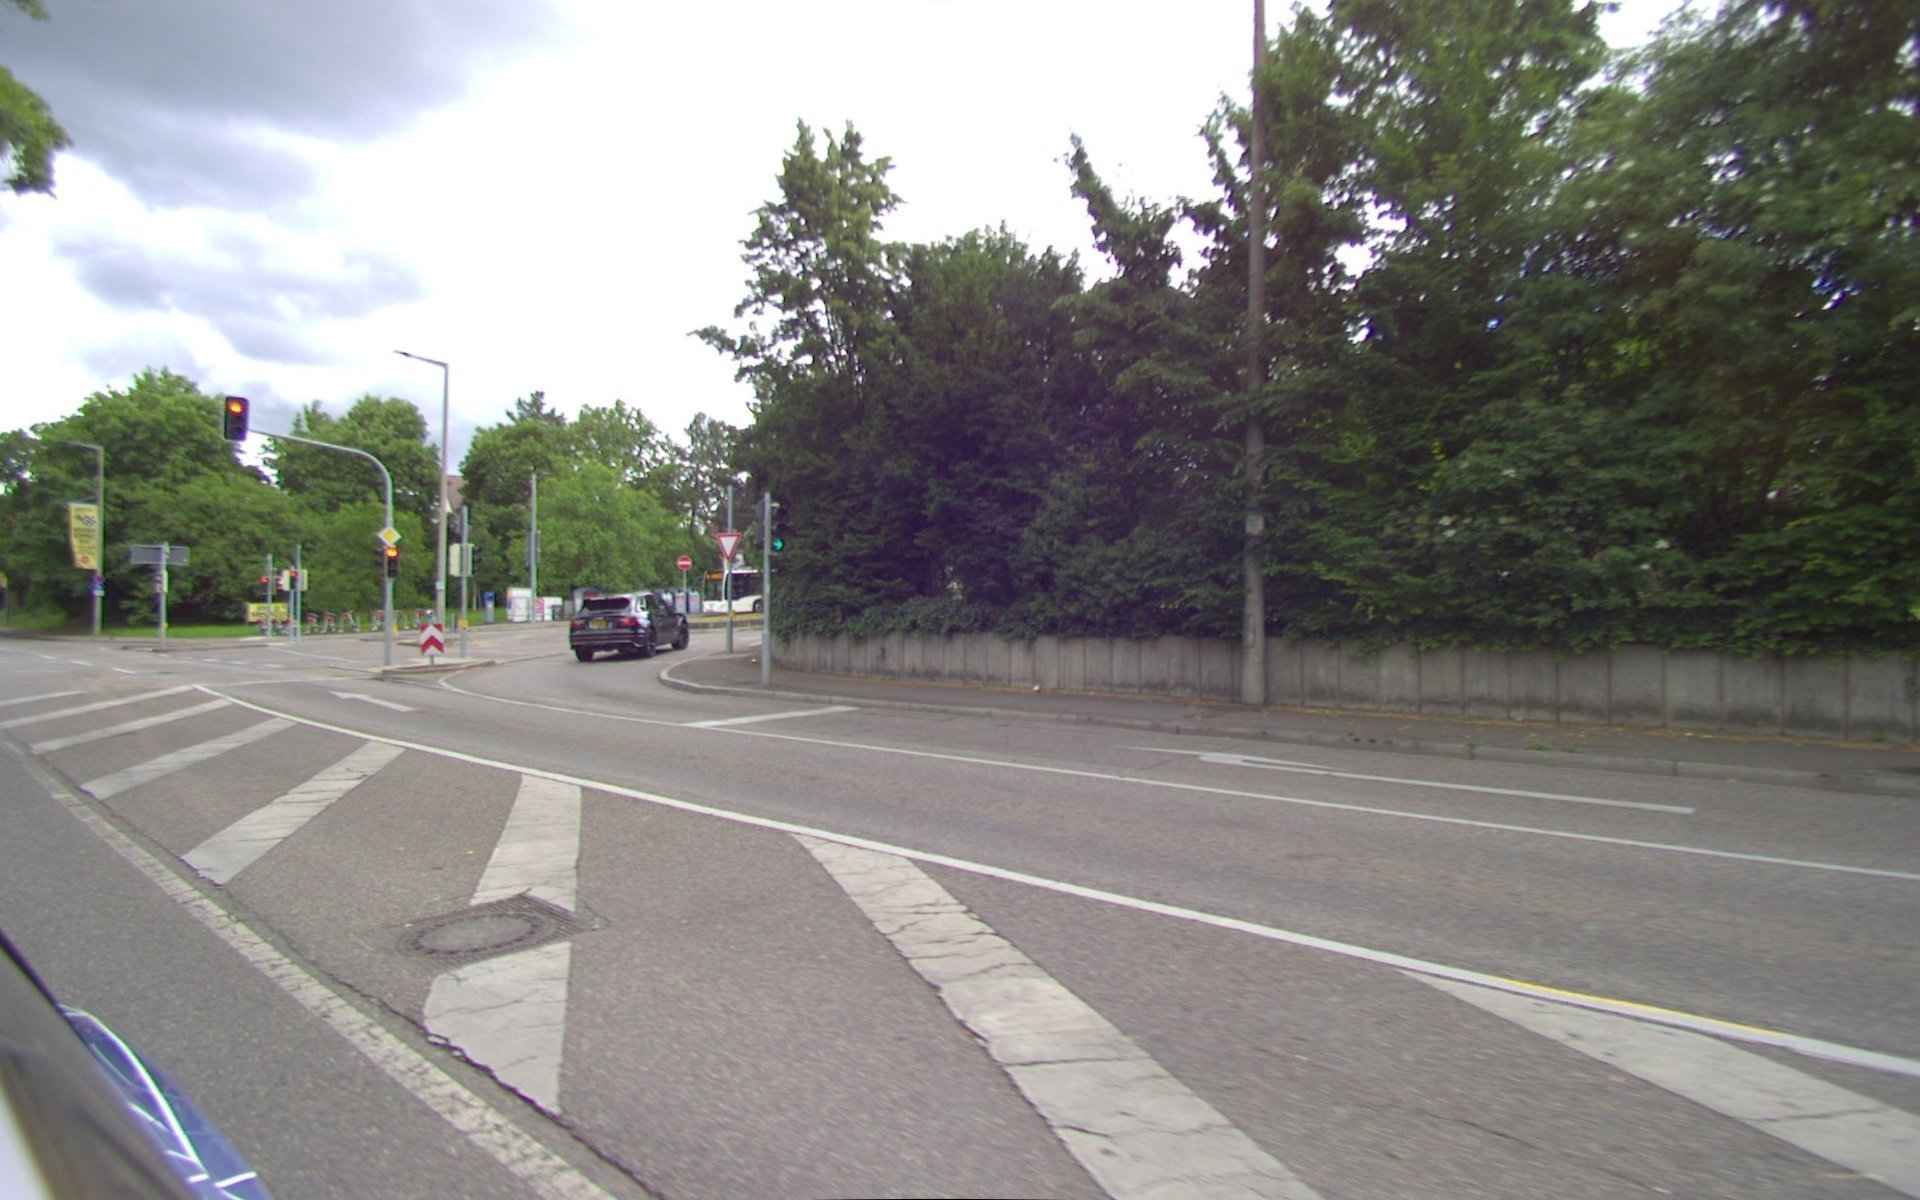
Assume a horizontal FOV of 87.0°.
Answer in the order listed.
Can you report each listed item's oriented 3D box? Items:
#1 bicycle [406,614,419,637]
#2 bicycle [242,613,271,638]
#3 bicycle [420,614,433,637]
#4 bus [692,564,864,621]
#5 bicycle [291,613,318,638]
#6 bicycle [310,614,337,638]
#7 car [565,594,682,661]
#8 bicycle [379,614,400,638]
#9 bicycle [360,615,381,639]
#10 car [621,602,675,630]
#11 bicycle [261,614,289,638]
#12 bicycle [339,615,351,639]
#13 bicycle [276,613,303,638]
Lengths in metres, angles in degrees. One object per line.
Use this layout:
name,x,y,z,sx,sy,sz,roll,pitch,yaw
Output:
bicycle,-31.090,1.435,57.450,0.536,1.262,1.942,-1,1,-26
bicycle,-37.968,1.346,54.616,0.537,1.262,1.940,-1,1,-11
bicycle,-30.464,1.422,57.773,0.536,1.262,1.941,-1,1,-32
bus,-11.909,-0.628,67.984,2.679,3.186,12.178,0,3,42
bicycle,-35.756,1.381,55.200,0.537,1.262,1.940,-1,1,-11
bicycle,-34.892,1.418,55.497,0.537,1.262,1.940,-1,1,-11
car,-9.216,0.726,28.147,1.879,1.691,5.085,0,-1,-4
bicycle,-32.047,1.455,56.865,0.536,1.262,1.941,-1,1,-15
bicycle,-32.880,1.472,56.450,0.536,1.262,1.941,-1,1,-15
car,-18.002,0.912,58.515,1.723,1.475,4.341,-1,1,1
bicycle,-37.262,1.404,55.102,0.537,1.262,1.940,-1,0,-11
bicycle,-34.009,1.494,55.919,0.536,1.262,1.941,-1,1,-32
bicycle,-36.549,1.374,55.199,0.537,1.262,1.940,-1,1,-11
